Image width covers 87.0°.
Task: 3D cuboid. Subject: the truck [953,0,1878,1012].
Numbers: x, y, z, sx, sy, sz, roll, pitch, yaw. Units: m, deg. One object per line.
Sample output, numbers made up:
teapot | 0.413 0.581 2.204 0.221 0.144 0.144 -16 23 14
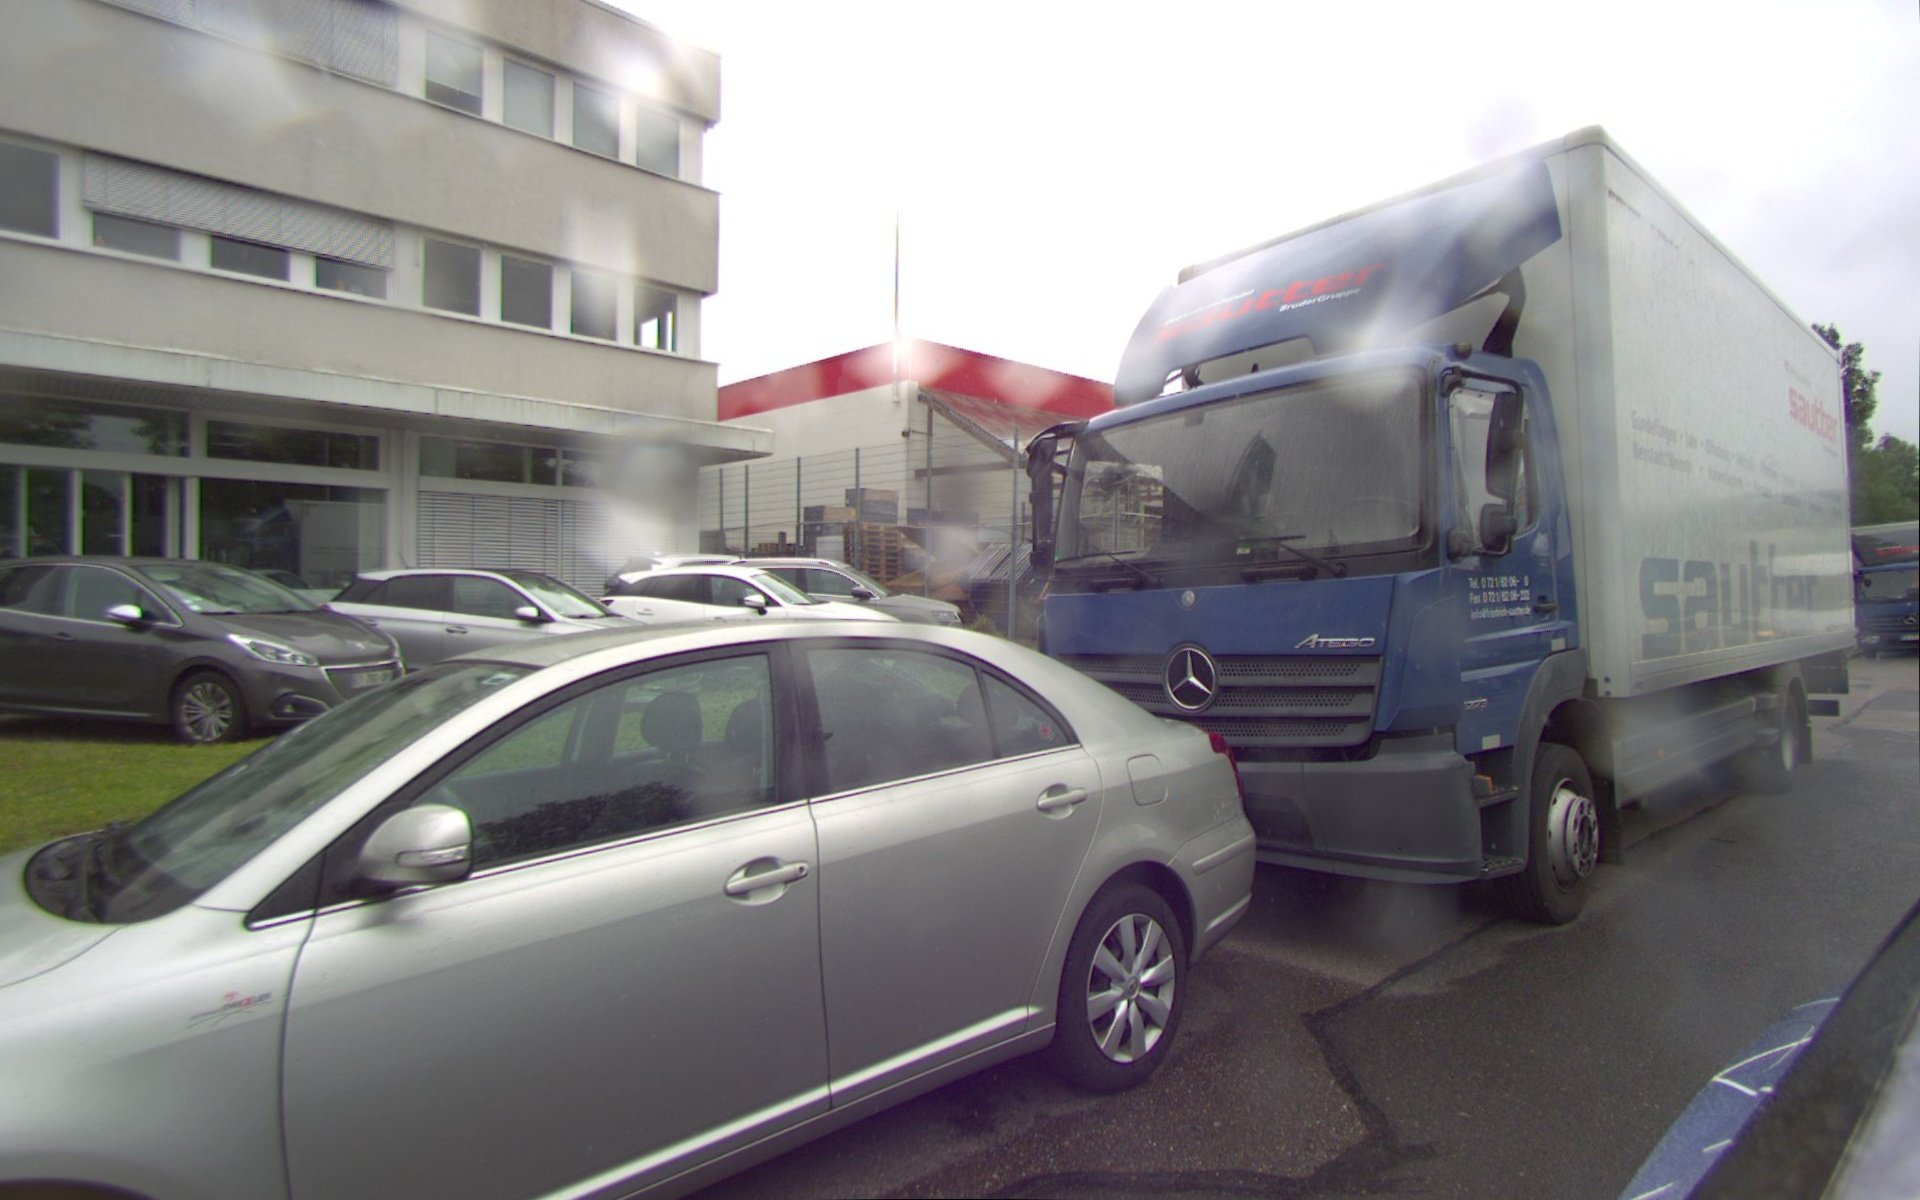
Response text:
truck | 4.298 -0.515 7.564 9.138 3.838 2.744 0 -1 -42

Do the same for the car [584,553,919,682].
car | -2.581 0.185 13.119 3.928 1.488 1.774 1 1 4

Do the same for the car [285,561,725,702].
car | -4.672 0.280 10.727 3.928 1.302 1.705 1 1 4

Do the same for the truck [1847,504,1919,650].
truck | 27.560 -0.609 28.663 7.872 3.739 2.674 0 -1 -42

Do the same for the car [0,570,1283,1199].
car | -1.012 0.668 2.901 4.271 1.459 1.800 0 2 -42

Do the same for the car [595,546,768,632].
car | -5.021 -0.206 18.363 2.700 1.443 1.400 0 1 -42

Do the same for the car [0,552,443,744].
car | -6.658 0.326 8.612 3.702 1.410 1.704 1 1 6

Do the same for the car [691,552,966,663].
car | -1.929 0.086 15.646 3.928 1.546 1.872 1 1 4
